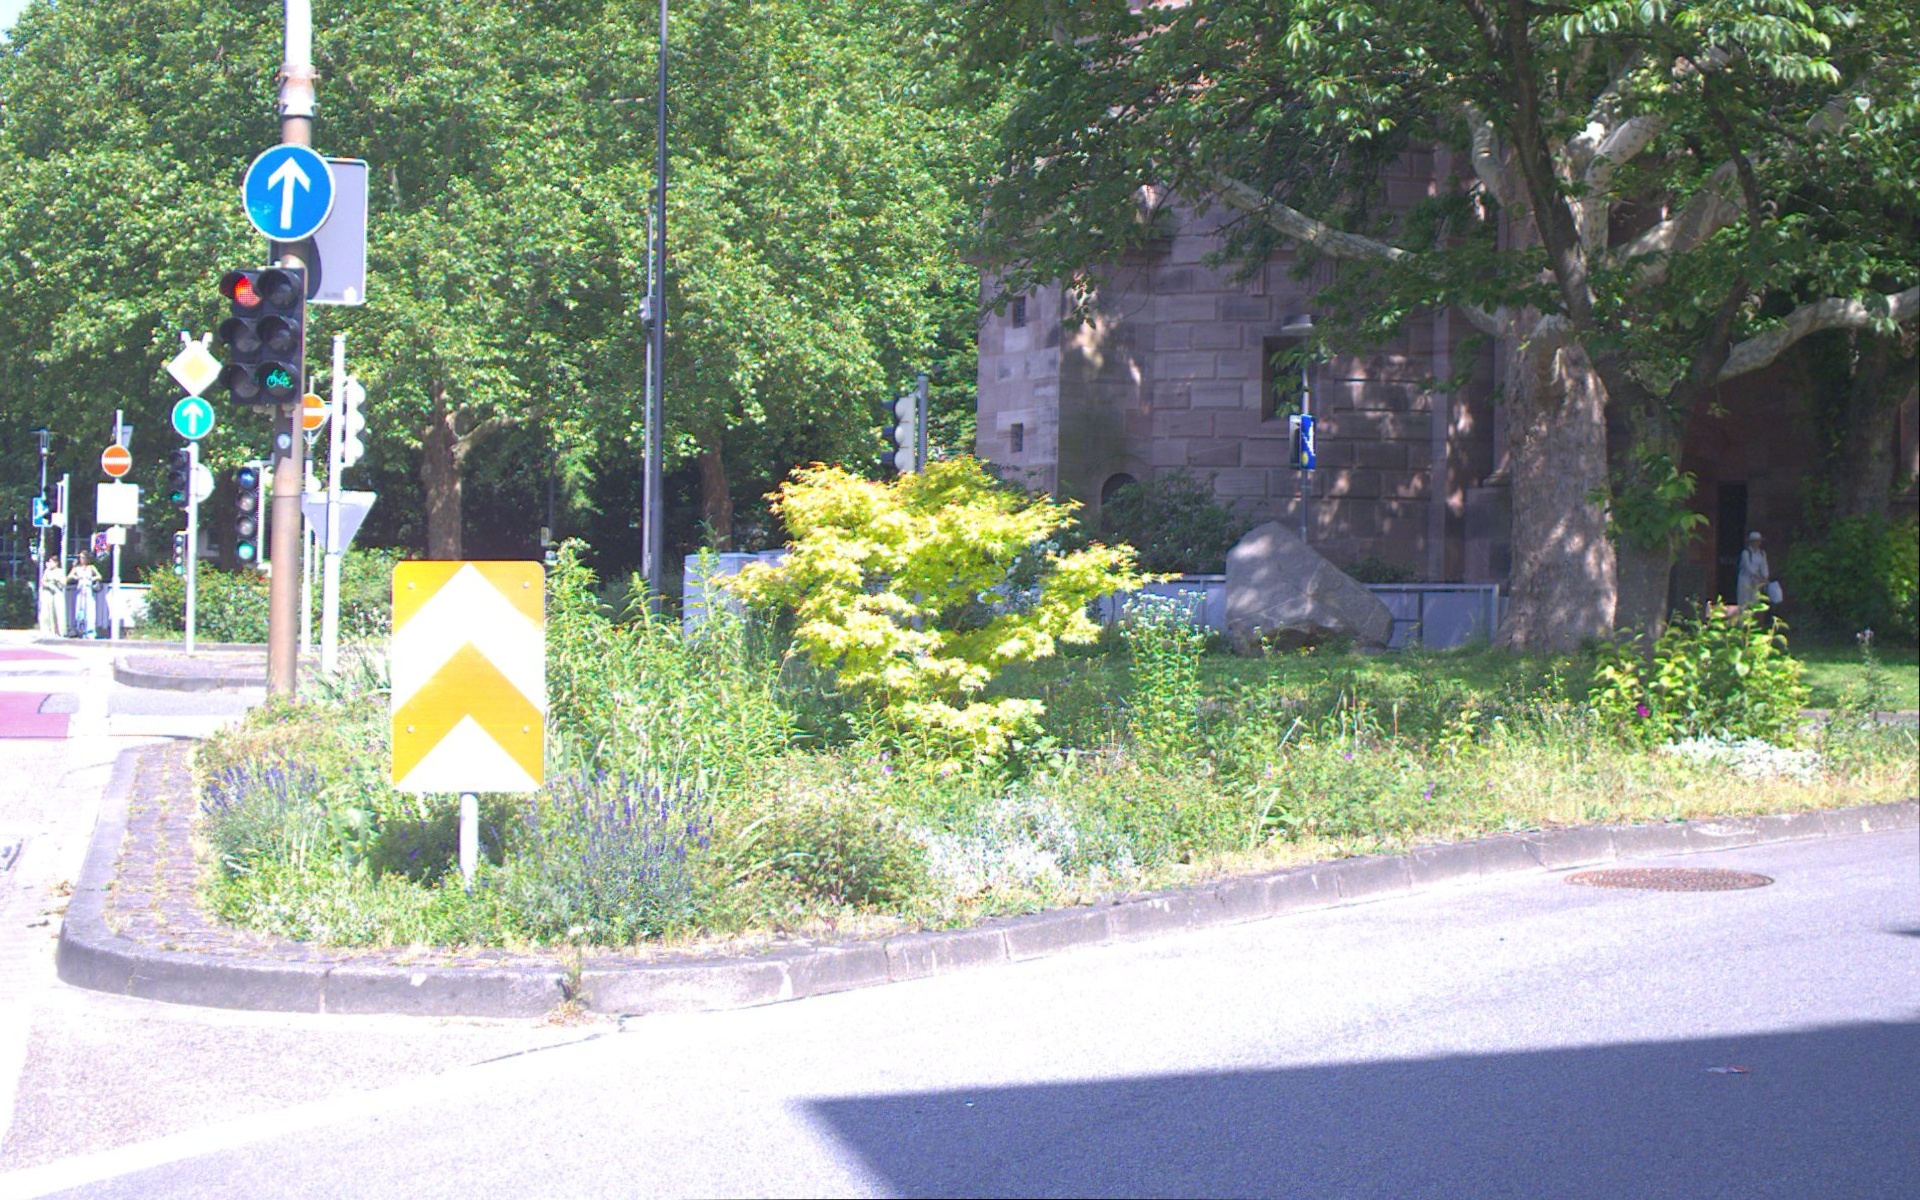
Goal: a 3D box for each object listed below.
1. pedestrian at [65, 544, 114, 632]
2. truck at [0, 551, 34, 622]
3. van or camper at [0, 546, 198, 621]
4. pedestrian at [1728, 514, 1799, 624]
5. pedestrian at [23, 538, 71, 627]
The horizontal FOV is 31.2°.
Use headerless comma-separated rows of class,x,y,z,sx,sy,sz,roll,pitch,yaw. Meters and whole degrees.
pedestrian,-16.955,-0.236,66.981,0.761,1.703,0.878,0,1,-4
truck,-30.148,-0.426,100.537,6.262,2.007,2.161,1,1,31
van or camper,-22.194,-0.440,88.652,4.543,1.895,2.000,0,1,7
pedestrian,13.104,-0.519,56.085,0.792,1.776,0.876,0,1,-16
pedestrian,-17.764,-0.350,66.892,0.761,1.713,0.795,0,1,-4
